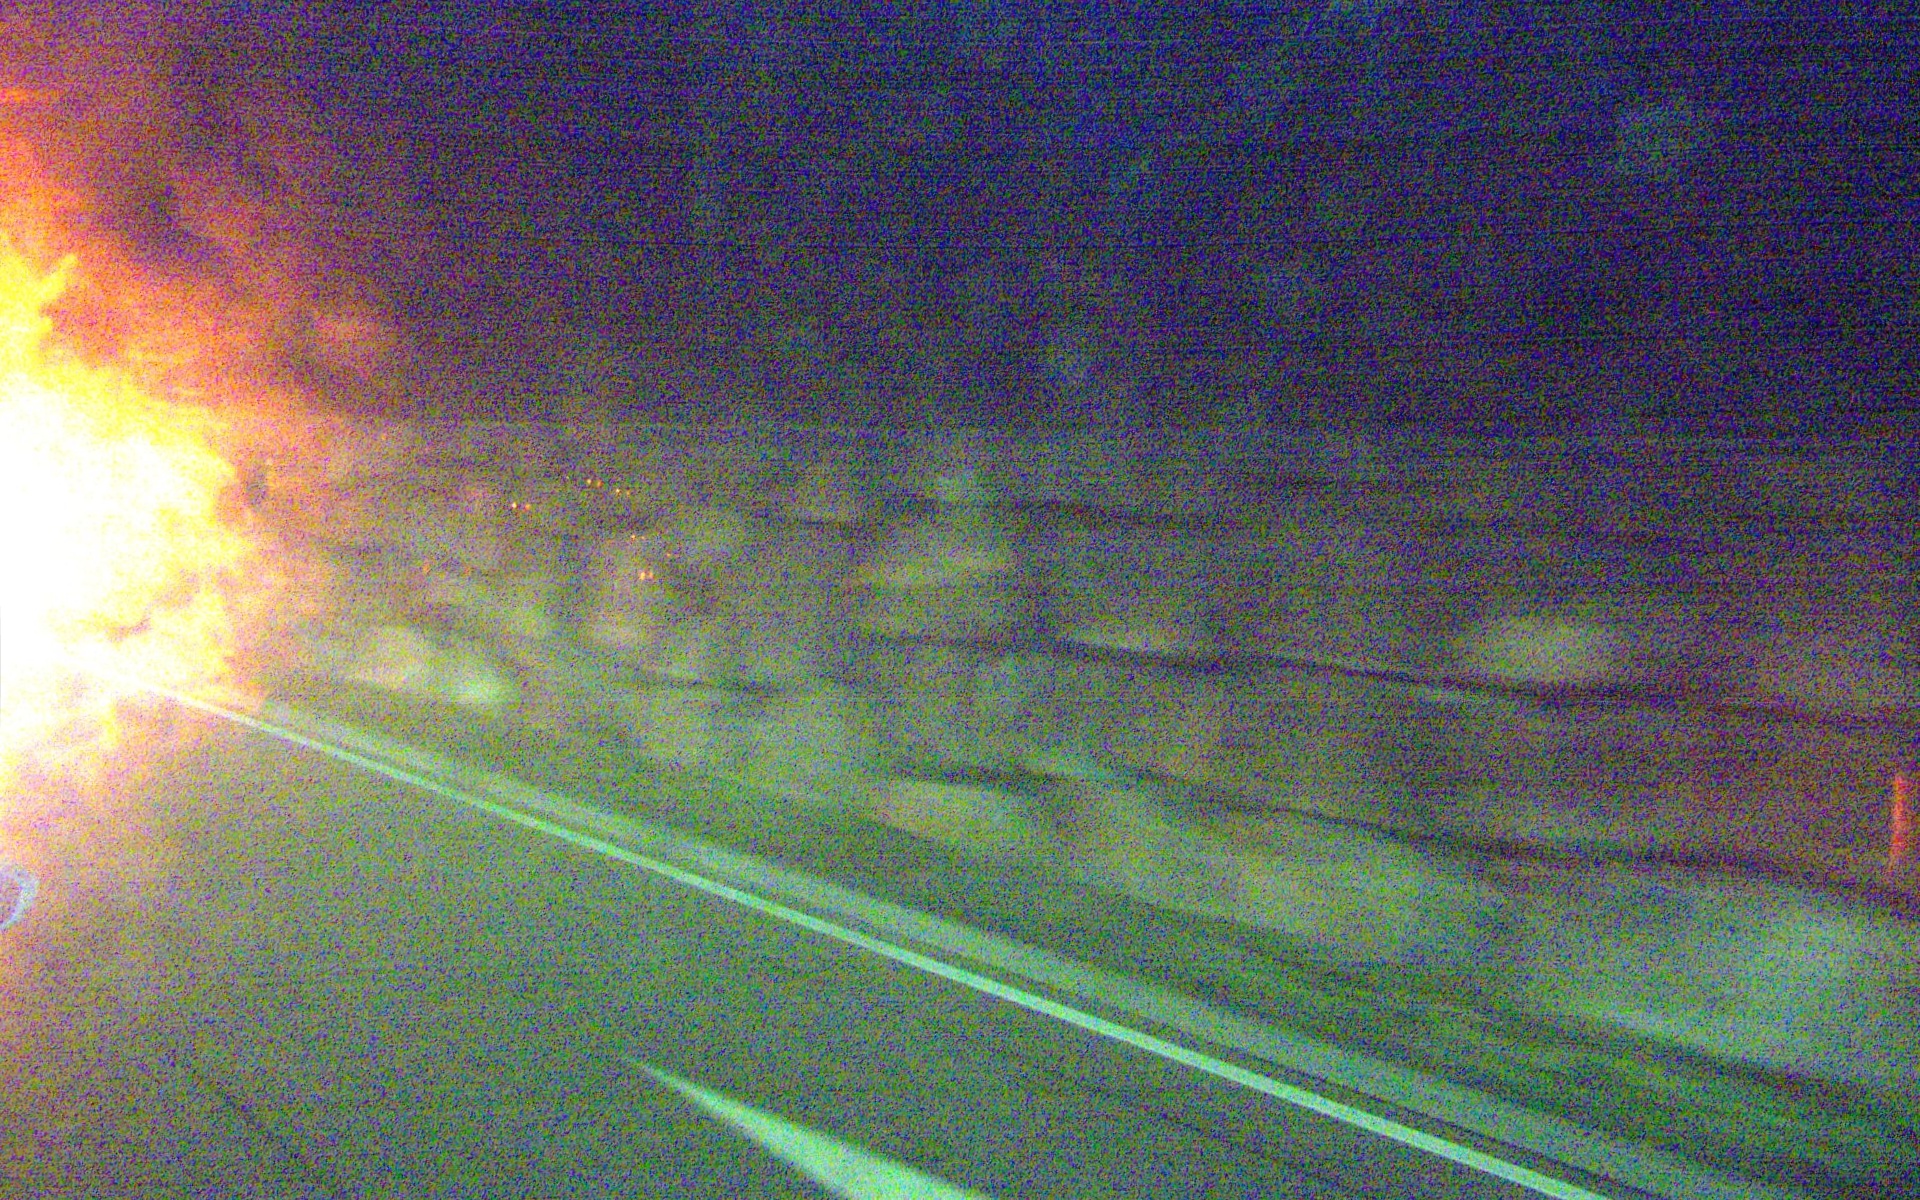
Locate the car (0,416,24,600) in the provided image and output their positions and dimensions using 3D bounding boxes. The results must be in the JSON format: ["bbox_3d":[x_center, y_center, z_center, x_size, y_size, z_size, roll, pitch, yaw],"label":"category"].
[{"bbox_3d":[-10.365,-0.819,8.868,4.503,2.046,1.795,7,-1,31],"label":"car"}]
